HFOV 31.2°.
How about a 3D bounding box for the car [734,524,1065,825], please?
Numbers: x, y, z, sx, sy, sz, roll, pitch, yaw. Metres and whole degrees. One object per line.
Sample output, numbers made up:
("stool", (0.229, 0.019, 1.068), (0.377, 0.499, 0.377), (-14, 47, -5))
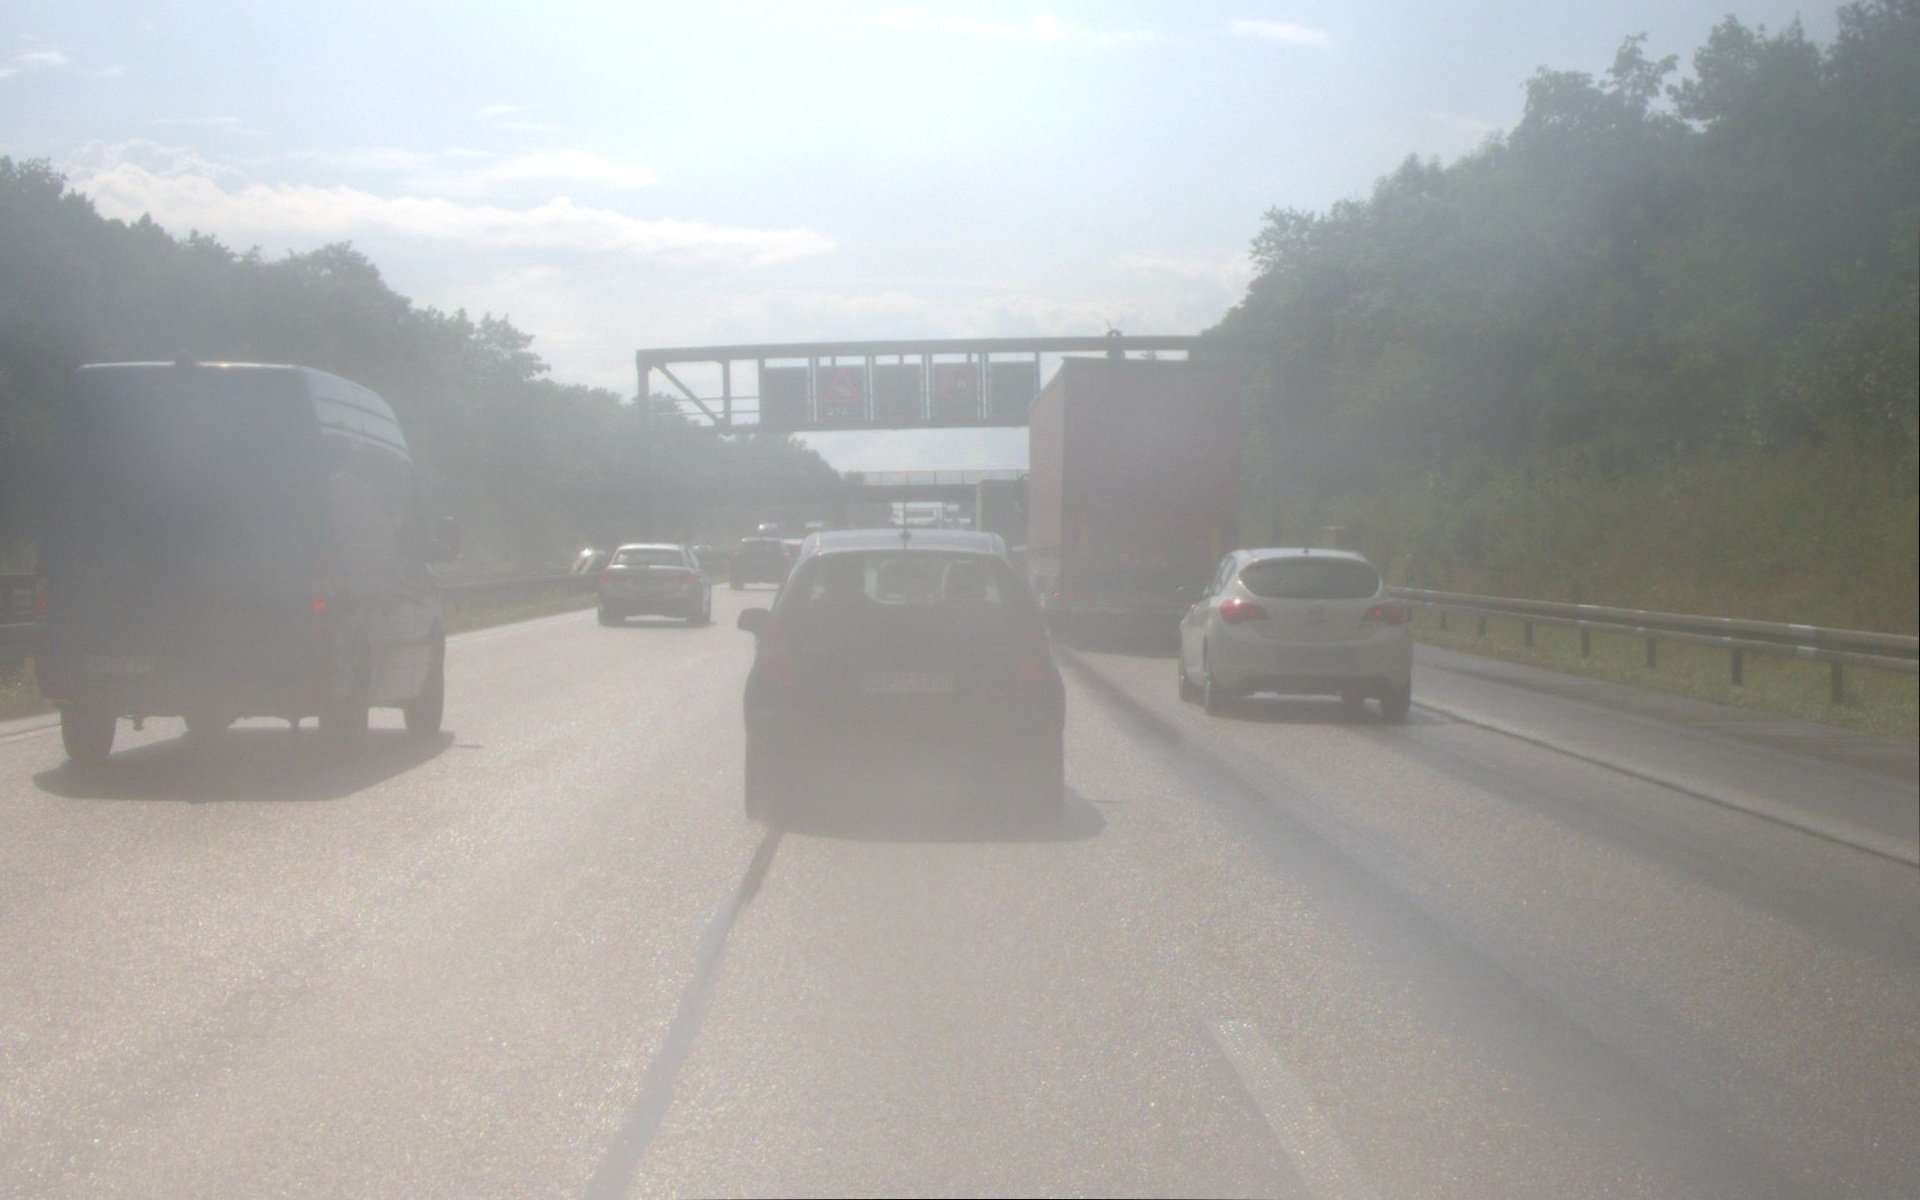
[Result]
("car", (-0.391, 0.369, 19.830), (1.717, 1.562, 3.485), (1, 1, -2))

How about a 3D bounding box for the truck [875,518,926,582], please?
("truck", (-2.720, -2.282, 156.397), (2.192, 2.865, 4.850), (1, 1, -2))

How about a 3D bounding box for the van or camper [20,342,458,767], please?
("van or camper", (-4.962, -0.328, 24.465), (1.993, 2.659, 5.385), (1, 1, 0))

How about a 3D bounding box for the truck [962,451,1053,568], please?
("truck", (1.834, -3.570, 138.594), (3.256, 4.464, 12.422), (1, 1, -1))

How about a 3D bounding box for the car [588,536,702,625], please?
("car", (-5.682, -0.370, 62.326), (1.854, 1.546, 3.485), (1, 1, -2))

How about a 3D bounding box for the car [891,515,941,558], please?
("car", (-1.455, -2.083, 113.086), (1.552, 1.378, 3.210), (1, 1, -2))

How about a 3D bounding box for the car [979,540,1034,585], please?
("car", (1.478, -1.209, 110.399), (1.552, 1.378, 3.210), (1, 1, -2))

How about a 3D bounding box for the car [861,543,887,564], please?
("car", (-5.363, -2.900, 214.595), (1.549, 1.262, 3.485), (1, 1, -3))

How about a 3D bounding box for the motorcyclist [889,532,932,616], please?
("motorcyclist", (-0.991, -0.521, 68.264), (0.801, 1.627, 1.013), (1, 1, -2))

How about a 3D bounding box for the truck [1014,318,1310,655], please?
("truck", (2.981, -1.731, 56.944), (3.650, 4.704, 16.780), (1, 1, -1))

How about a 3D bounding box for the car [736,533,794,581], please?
("car", (-6.096, -1.348, 107.557), (1.751, 1.452, 3.390), (1, 1, -2))

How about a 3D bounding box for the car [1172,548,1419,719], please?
("car", (2.976, 0.255, 31.199), (1.680, 1.437, 3.905), (1, 1, -2))

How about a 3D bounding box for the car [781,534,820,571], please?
("car", (-6.128, -1.826, 132.052), (1.460, 1.389, 3.312), (1, 1, -2))

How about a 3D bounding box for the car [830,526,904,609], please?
("car", (-2.050, -0.713, 75.039), (1.531, 1.740, 3.485), (1, 1, -2))

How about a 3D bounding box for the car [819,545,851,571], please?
("car", (-6.293, -2.116, 173.011), (1.549, 1.262, 3.485), (1, 1, -3))
